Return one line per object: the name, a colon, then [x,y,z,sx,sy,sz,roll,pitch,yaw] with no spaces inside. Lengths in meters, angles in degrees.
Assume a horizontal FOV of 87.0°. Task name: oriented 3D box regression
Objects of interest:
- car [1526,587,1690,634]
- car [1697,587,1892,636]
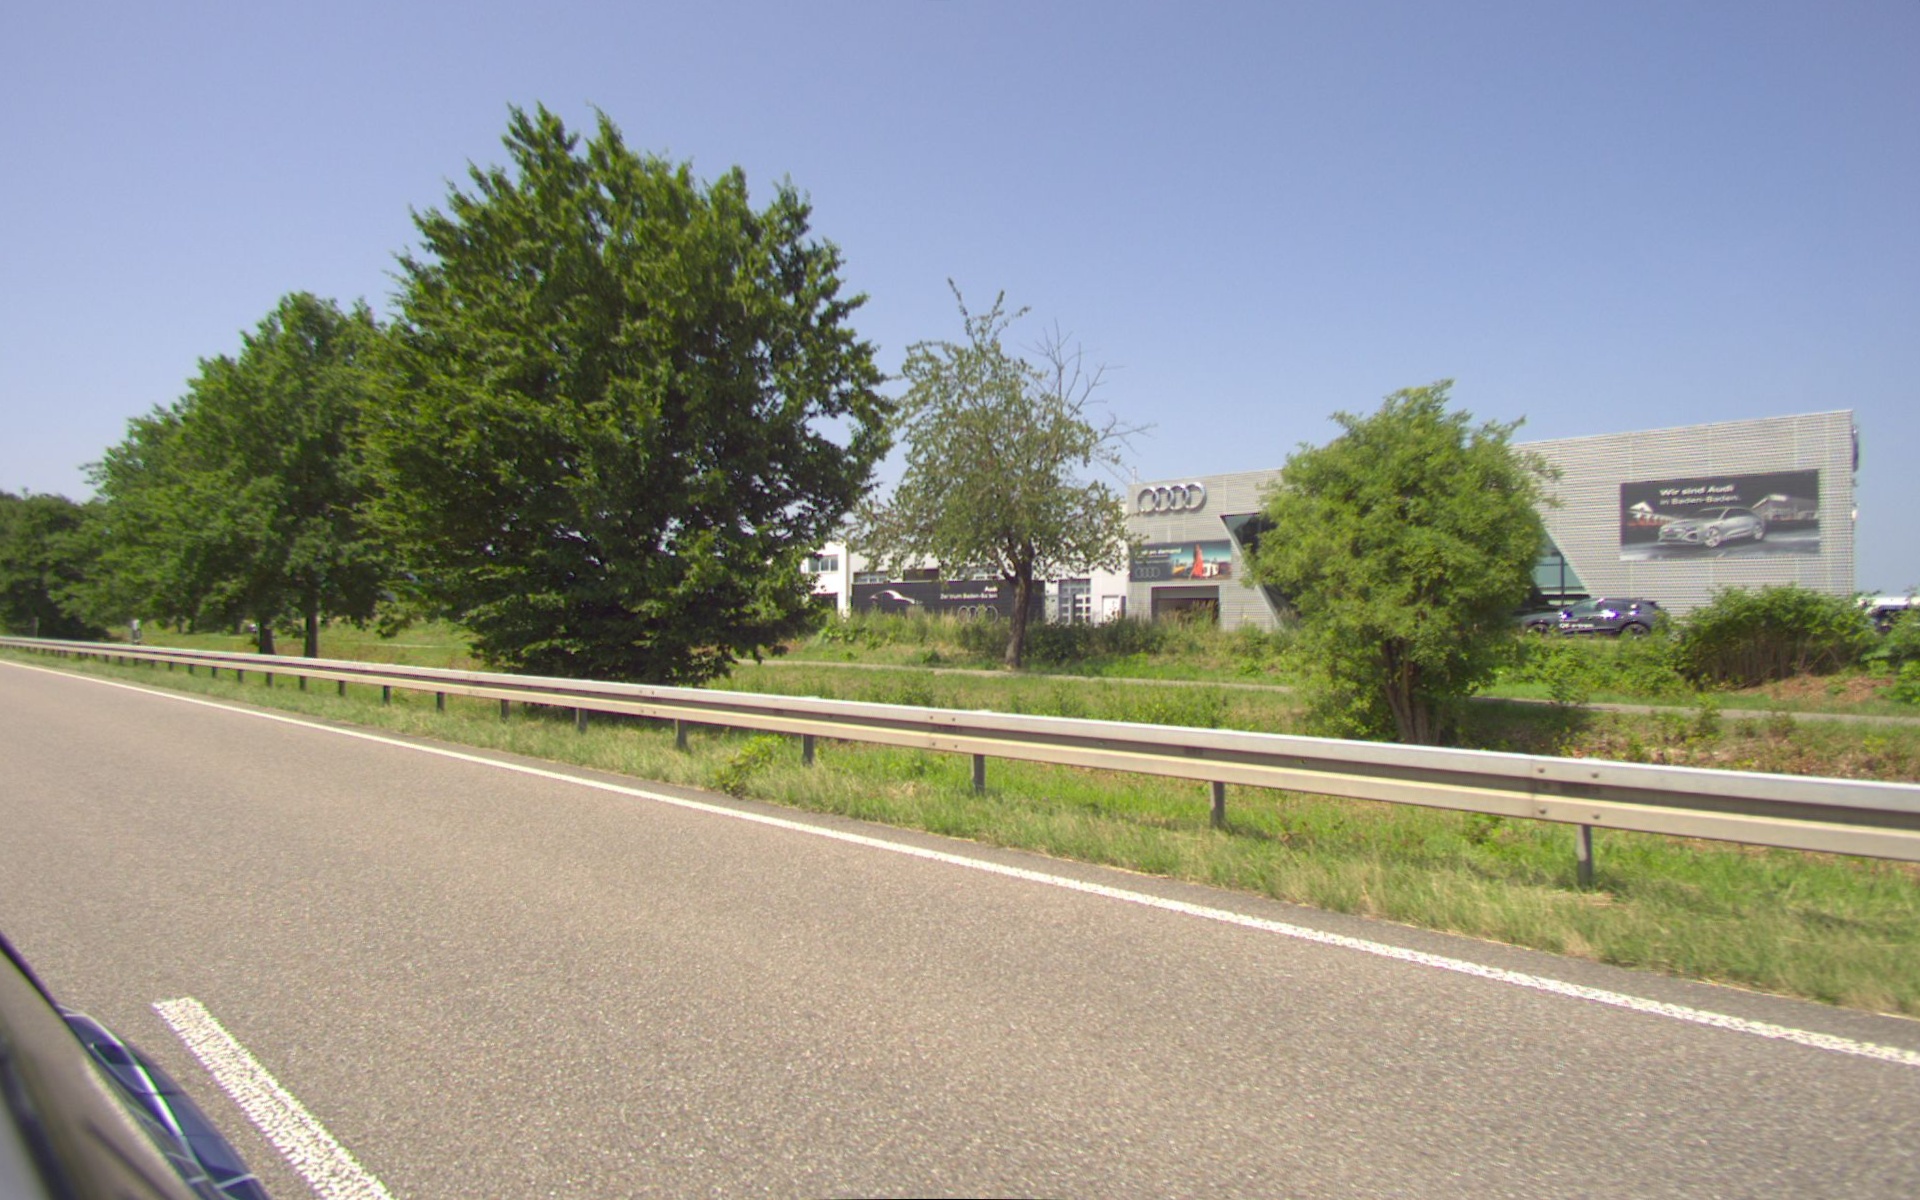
car: [22.821,0.403,35.746,4.663,1.549,1.728,-1,-3,42]
car: [26.350,0.396,32.104,4.664,1.448,1.728,-1,-3,42]
